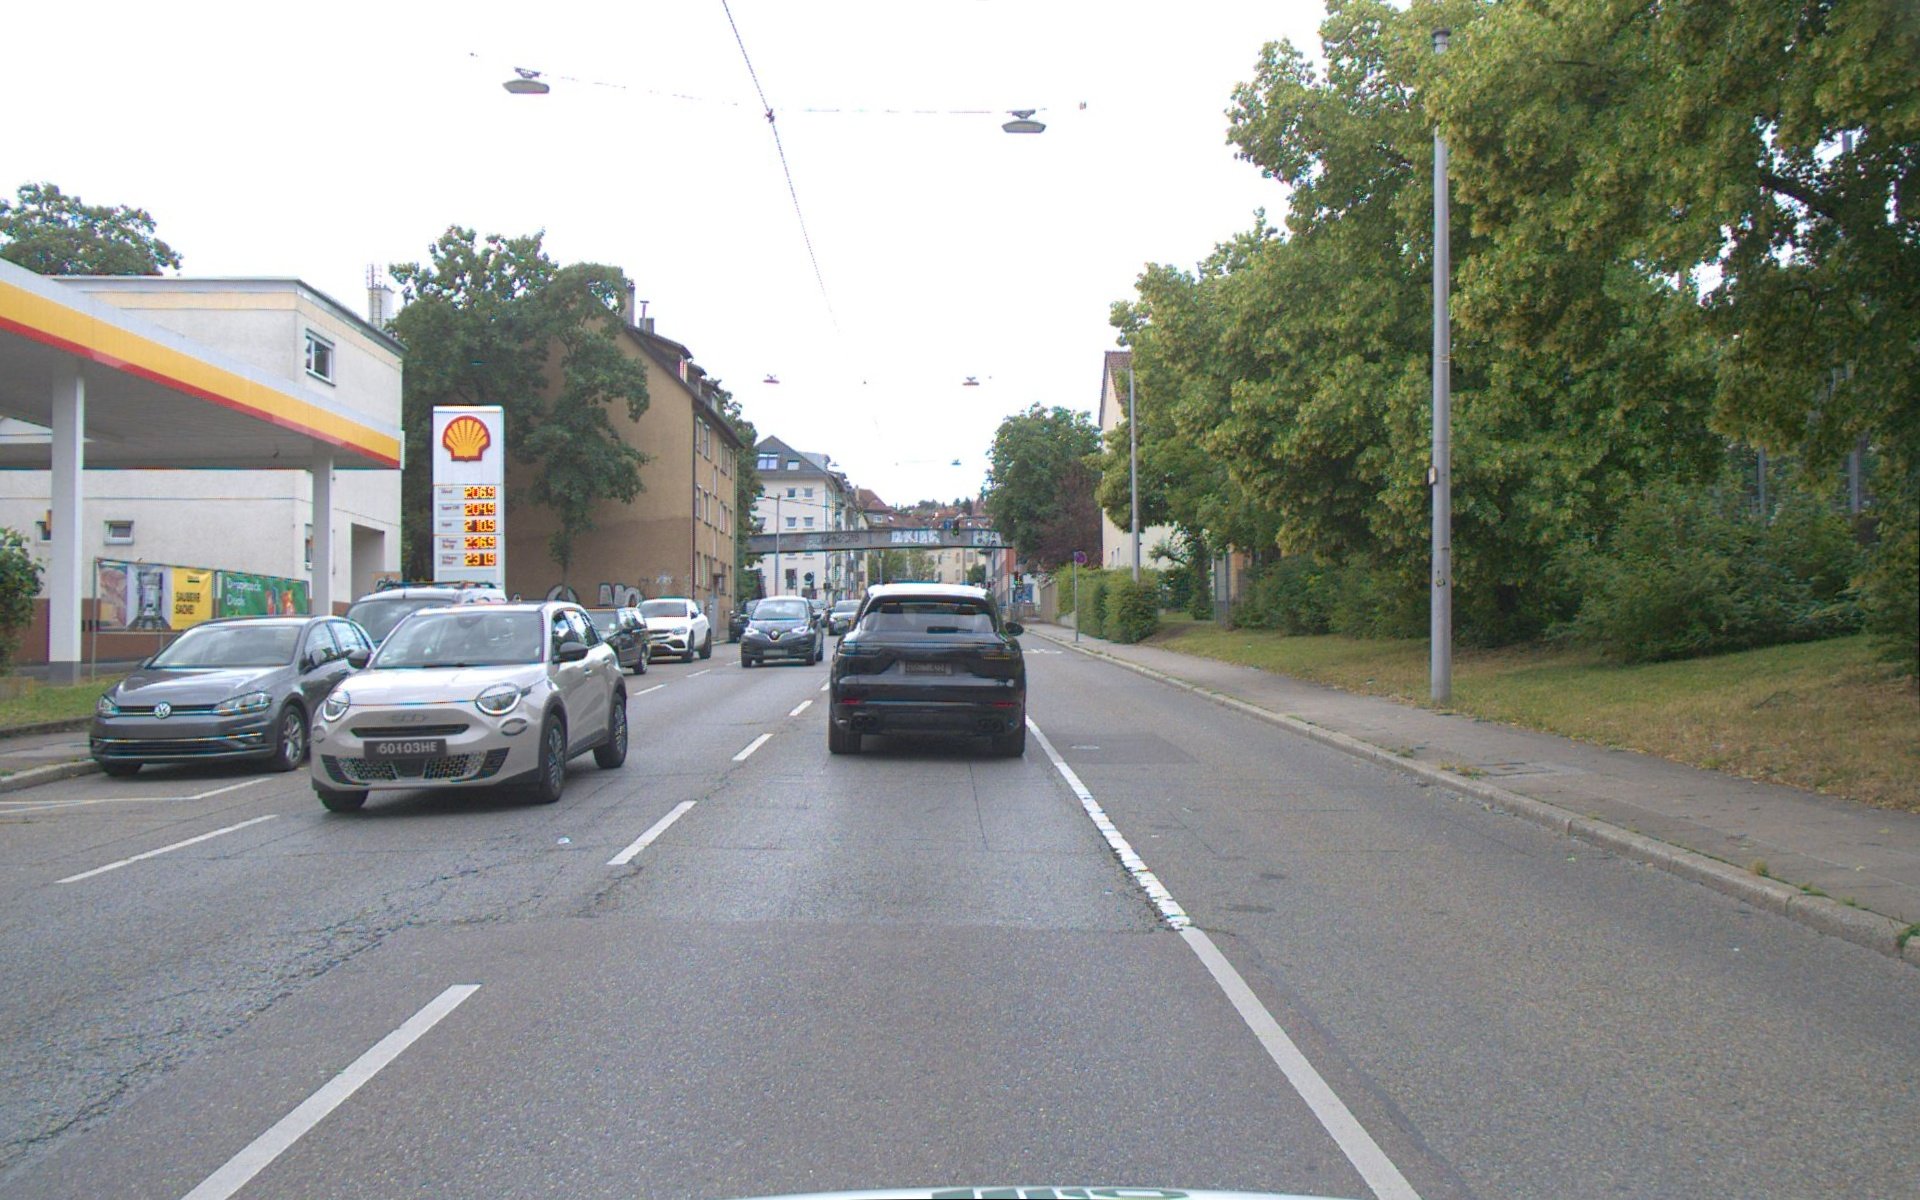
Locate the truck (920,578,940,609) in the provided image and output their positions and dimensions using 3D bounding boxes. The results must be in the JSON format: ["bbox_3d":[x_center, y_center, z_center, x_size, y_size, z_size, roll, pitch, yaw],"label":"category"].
[{"bbox_3d":[-3.586,-0.728,196.009,2.221,3.484,9.875,-1,0,-1],"label":"truck"}]

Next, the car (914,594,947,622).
[{"bbox_3d":[-1.540,0.414,87.205,1.706,1.424,4.000,0,1,-1],"label":"car"}]

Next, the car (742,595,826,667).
[{"bbox_3d":[-4.089,0.690,38.897,1.649,1.582,3.717,-2,0,-2],"label":"car"}]

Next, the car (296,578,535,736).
[{"bbox_3d":[-7.231,0.686,22.490,1.814,1.867,4.699,-2,0,-2],"label":"car"}]

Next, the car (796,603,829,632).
[{"bbox_3d":[-8.462,0.994,95.136,1.711,1.596,3.906,-2,0,-3],"label":"car"}]

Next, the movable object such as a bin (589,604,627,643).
[{"bbox_3d":[-13.252,0.890,62.322,1.256,1.453,1.278,0,0,-5],"label":"movable object such as a bin"}]

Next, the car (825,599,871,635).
[{"bbox_3d":[-4.893,0.733,72.675,1.741,1.492,4.498,-1,0,0],"label":"car"}]

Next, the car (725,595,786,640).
[{"bbox_3d":[-7.969,0.662,64.736,1.746,1.637,4.264,-3,0,0],"label":"car"}]

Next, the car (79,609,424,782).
[{"bbox_3d":[-7.086,0.878,17.060,1.754,1.475,4.217,-2,0,-1],"label":"car"}]

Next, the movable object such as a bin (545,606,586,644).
[{"bbox_3d":[-14.900,0.939,62.535,1.365,1.453,0.912,0,0,-3],"label":"movable object such as a bin"}]

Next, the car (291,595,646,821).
[{"bbox_3d":[-3.868,0.762,13.738,1.761,1.551,3.999,-2,0,-1],"label":"car"}]

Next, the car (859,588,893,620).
[{"bbox_3d":[-5.190,0.233,102.572,1.891,1.934,4.588,-1,0,-1],"label":"car"}]

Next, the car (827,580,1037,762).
[{"bbox_3d":[-0.277,0.634,17.386,1.953,1.691,4.000,0,1,-1],"label":"car"}]

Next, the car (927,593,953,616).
[{"bbox_3d":[-1.330,0.292,109.804,1.706,1.424,4.000,0,1,-1],"label":"car"}]

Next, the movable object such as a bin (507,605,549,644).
[{"bbox_3d":[-16.294,0.913,62.458,1.365,1.453,0.912,0,0,-3],"label":"movable object such as a bin"}]

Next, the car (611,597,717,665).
[{"bbox_3d":[-7.584,0.762,42.806,1.876,1.605,4.699,-1,0,0],"label":"car"}]

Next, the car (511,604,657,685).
[{"bbox_3d":[-7.565,0.852,33.748,1.760,1.456,4.744,-2,0,1],"label":"car"}]
